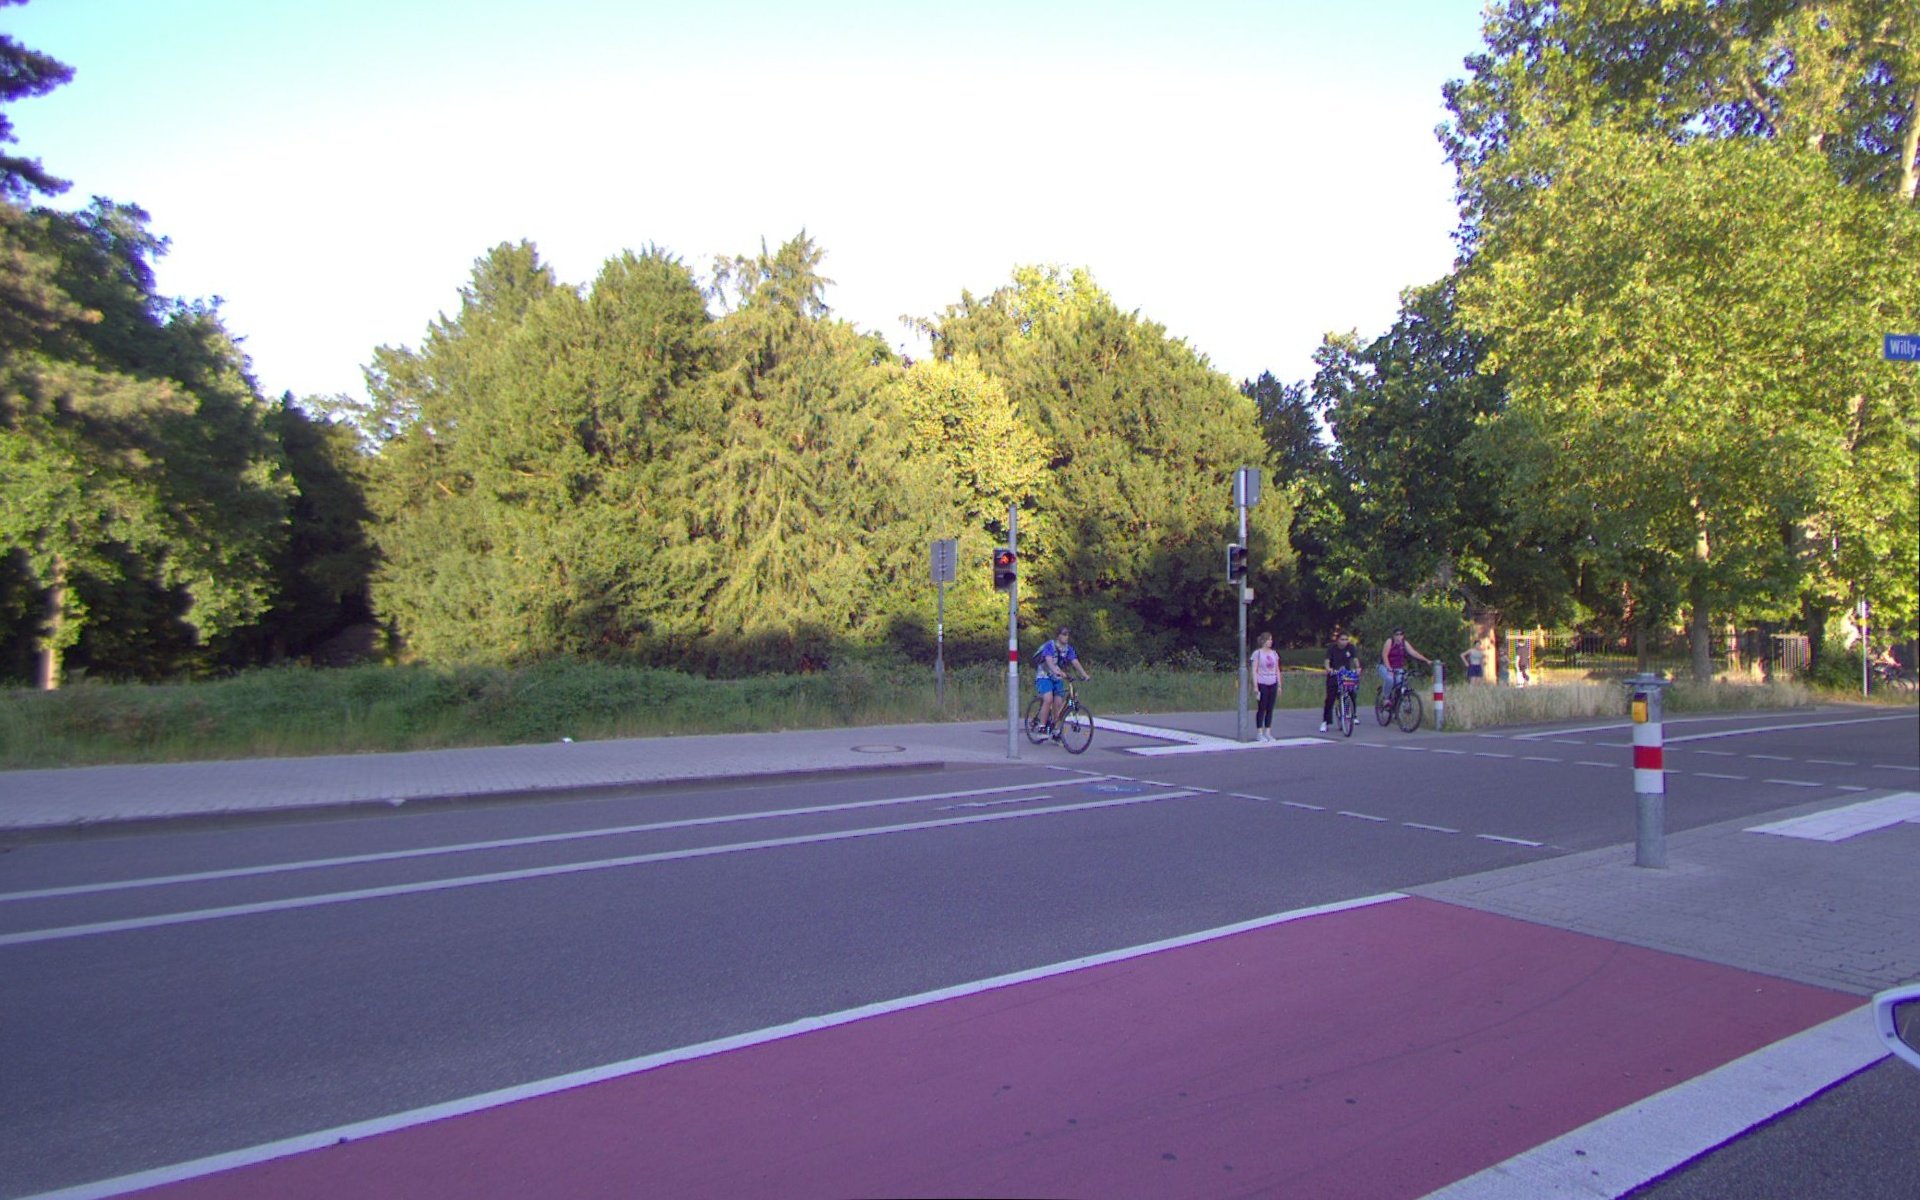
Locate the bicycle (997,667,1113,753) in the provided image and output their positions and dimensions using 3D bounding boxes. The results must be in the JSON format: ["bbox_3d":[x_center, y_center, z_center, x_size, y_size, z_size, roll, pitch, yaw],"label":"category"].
[{"bbox_3d":[1.375,1.600,15.020,0.762,1.115,2.109,1,-2,-26],"label":"bicycle"}]

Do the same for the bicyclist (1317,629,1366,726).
[{"bbox_3d":[6.699,1.351,17.666,0.618,1.671,0.640,0,-2,1],"label":"bicyclist"}]

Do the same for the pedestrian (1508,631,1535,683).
[{"bbox_3d":[22.147,2.245,39.621,0.691,2.040,0.638,1,-2,-25],"label":"pedestrian"}]

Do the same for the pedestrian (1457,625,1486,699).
[{"bbox_3d":[14.264,1.709,28.026,0.638,2.040,0.606,0,-1,22],"label":"pedestrian"}]

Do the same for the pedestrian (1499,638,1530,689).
[{"bbox_3d":[22.670,2.592,41.071,1.067,2.040,0.755,1,-1,-36],"label":"pedestrian"}]

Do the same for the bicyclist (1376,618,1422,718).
[{"bbox_3d":[8.082,1.247,18.511,0.564,1.803,0.640,0,-2,1],"label":"bicyclist"}]

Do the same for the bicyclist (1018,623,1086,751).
[{"bbox_3d":[1.379,1.277,15.100,0.729,1.848,0.705,1,0,-33],"label":"bicyclist"}]

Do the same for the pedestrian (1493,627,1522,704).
[{"bbox_3d":[14.779,1.745,27.127,0.584,2.040,0.642,0,-1,20],"label":"pedestrian"}]

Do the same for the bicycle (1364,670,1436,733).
[{"bbox_3d":[8.069,1.841,18.490,0.568,1.043,1.772,0,-2,1],"label":"bicycle"}]

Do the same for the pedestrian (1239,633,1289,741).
[{"bbox_3d":[4.964,1.403,16.397,0.492,1.718,0.604,1,-2,-28],"label":"pedestrian"}]

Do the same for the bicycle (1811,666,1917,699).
[{"bbox_3d":[29.138,2.648,32.423,0.765,0.936,2.420,1,-2,-29],"label":"bicycle"}]

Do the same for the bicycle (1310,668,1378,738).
[{"bbox_3d":[6.692,1.775,17.576,0.620,1.126,1.569,0,-2,1],"label":"bicycle"}]

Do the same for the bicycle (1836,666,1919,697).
[{"bbox_3d":[30.637,2.682,33.198,0.765,0.936,2.420,1,-2,-29],"label":"bicycle"}]

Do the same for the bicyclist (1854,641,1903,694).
[{"bbox_3d":[29.321,2.141,32.081,0.743,1.652,0.954,1,-2,-29],"label":"bicyclist"}]

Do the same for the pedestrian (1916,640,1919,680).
[{"bbox_3d":[38.855,2.408,40.306,0.583,1.617,0.533,1,-2,-30],"label":"pedestrian"}]

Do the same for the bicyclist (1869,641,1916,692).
[{"bbox_3d":[30.716,2.181,33.090,0.743,1.652,0.954,1,-2,-29],"label":"bicyclist"}]
